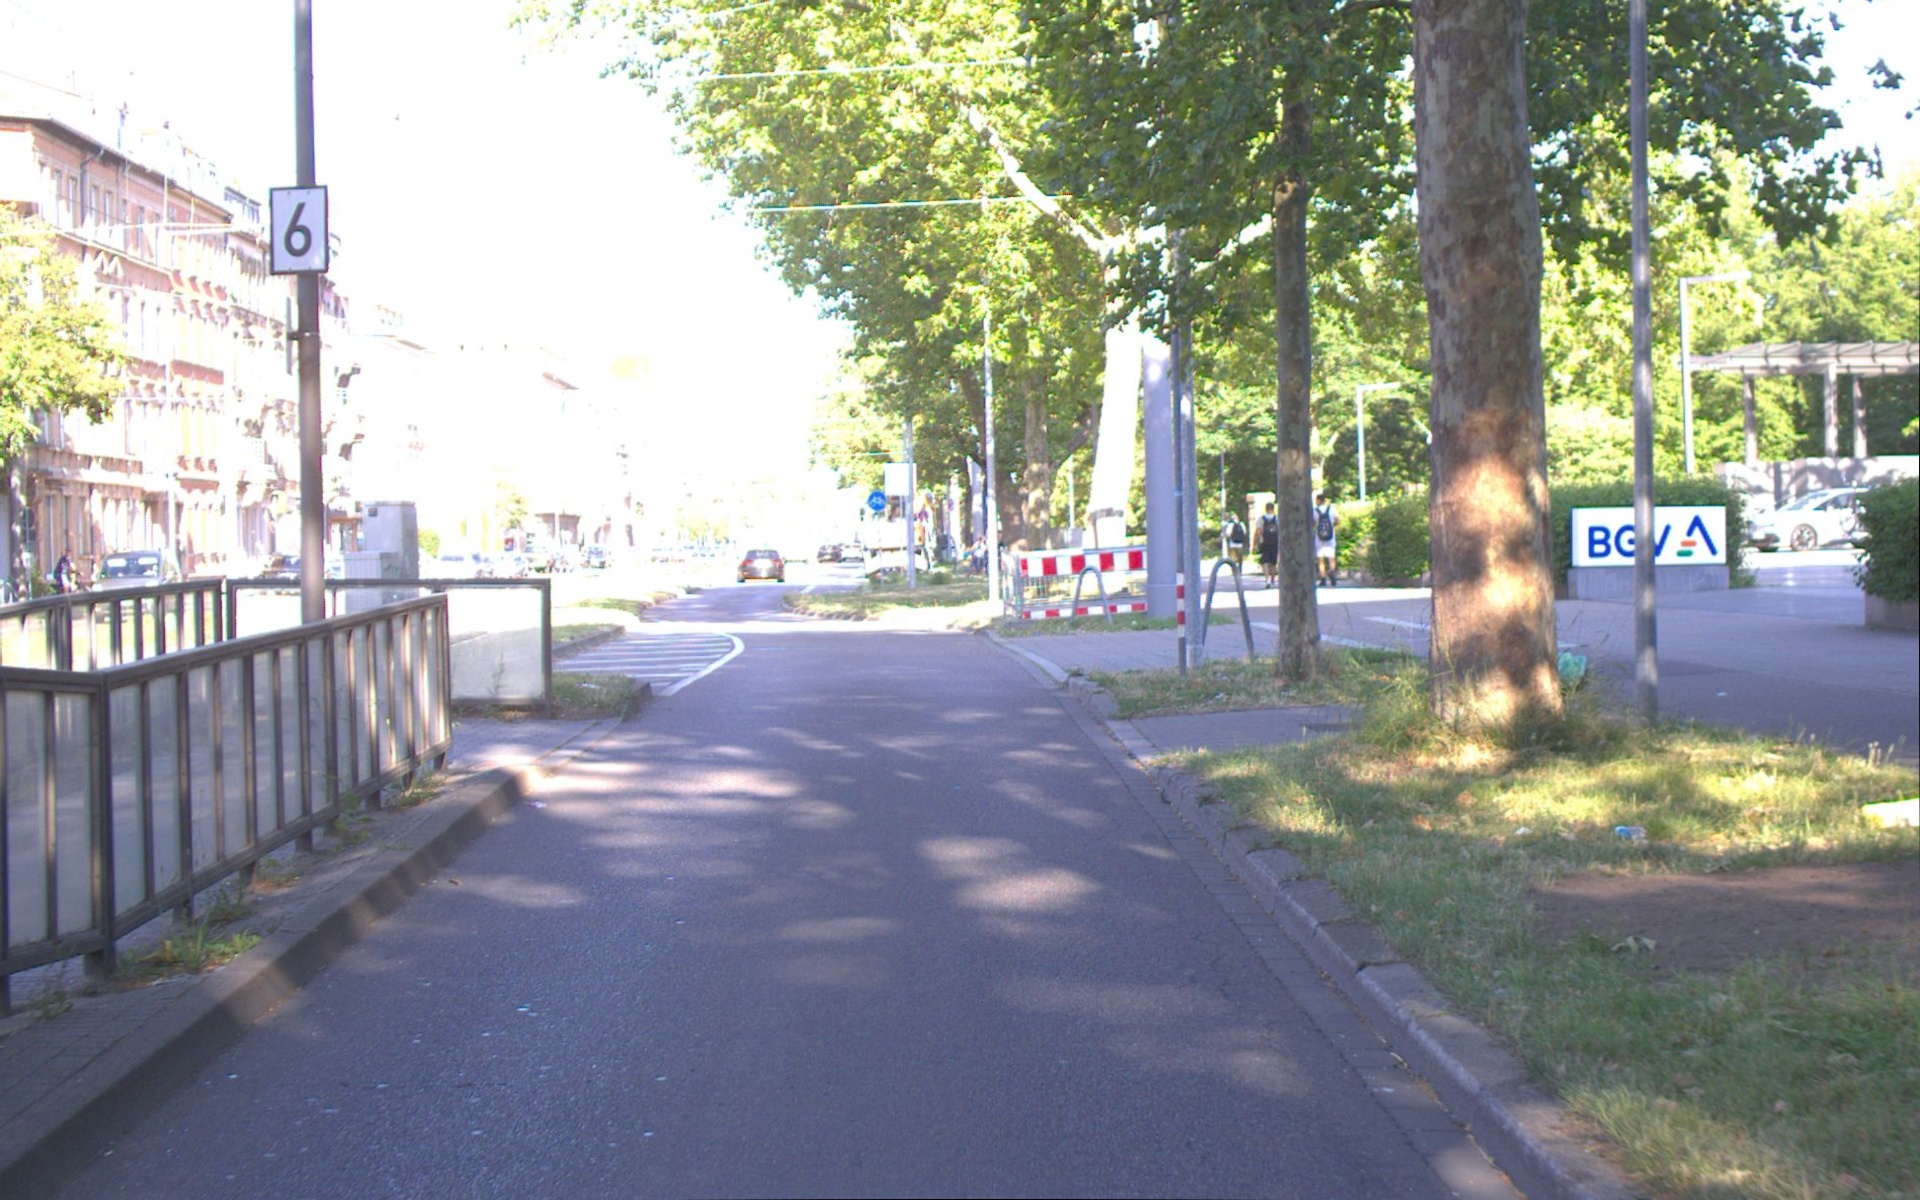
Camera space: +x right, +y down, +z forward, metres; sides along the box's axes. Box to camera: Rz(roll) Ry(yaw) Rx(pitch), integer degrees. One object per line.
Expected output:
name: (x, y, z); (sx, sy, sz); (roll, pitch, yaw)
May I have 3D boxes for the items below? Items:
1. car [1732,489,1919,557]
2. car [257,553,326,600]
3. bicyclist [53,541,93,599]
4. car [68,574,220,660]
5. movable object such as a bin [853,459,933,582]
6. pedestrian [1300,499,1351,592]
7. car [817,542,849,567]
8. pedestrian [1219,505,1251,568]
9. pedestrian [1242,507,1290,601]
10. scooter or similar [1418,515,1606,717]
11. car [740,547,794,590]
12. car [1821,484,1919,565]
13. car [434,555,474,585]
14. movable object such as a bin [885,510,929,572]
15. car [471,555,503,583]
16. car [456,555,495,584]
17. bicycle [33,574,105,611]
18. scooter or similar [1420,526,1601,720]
car: (21.754, -1.936, 86.315); (4.159, 1.501, 2.001); (-3, 2, -21)
car: (-26.834, -0.957, 138.168); (2.015, 1.748, 4.559); (1, 2, -2)
bicyclist: (-27.311, -0.927, 105.859); (0.919, 1.709, 0.767); (-1, 7, 5)
car: (-20.163, 0.442, 85.163); (1.939, 1.912, 4.471); (5, 0, 9)
movable object such as a bin: (-3.010, -3.491, 152.671); (3.087, 5.071, 8.893); (-4, 1, -2)
pedestrian: (7.201, -1.068, 67.795); (0.805, 1.787, 1.110); (-3, 1, -1)
car: (-9.541, -3.414, 257.477); (1.993, 1.853, 4.001); (1, 1, -8)
pedestrian: (6.899, -1.598, 86.272); (0.650, 1.534, 0.783); (-3, 1, -1)
pedestrian: (6.013, -0.907, 67.660); (0.750, 1.787, 1.086); (-3, 1, -1)
scooter or similar: (3.554, 0.097, 22.197); (1.052, 1.240, 0.841); (-2, 1, 2)
car: (-7.744, -1.274, 137.920); (1.993, 1.678, 4.000); (1, 1, -1)
car: (21.962, -1.767, 77.518); (4.670, 1.707, 1.849); (-3, 2, -21)
car: (-27.716, -1.635, 188.443); (1.741, 1.555, 3.768); (1, 2, -2)
movable object such as a bin: (-2.729, -2.983, 174.849); (1.968, 3.002, 4.797); (-4, 1, -2)
car: (-27.333, -1.805, 198.751); (1.526, 1.555, 3.224); (1, 2, -2)
car: (-27.214, -1.725, 193.208); (1.741, 1.555, 3.768); (1, 2, -2)
bicycle: (-27.454, -0.234, 105.950); (1.953, 1.036, 0.767); (-1, 7, 5)
scooter or similar: (3.687, 0.148, 23.092); (1.052, 1.240, 0.841); (-2, 1, 2)
